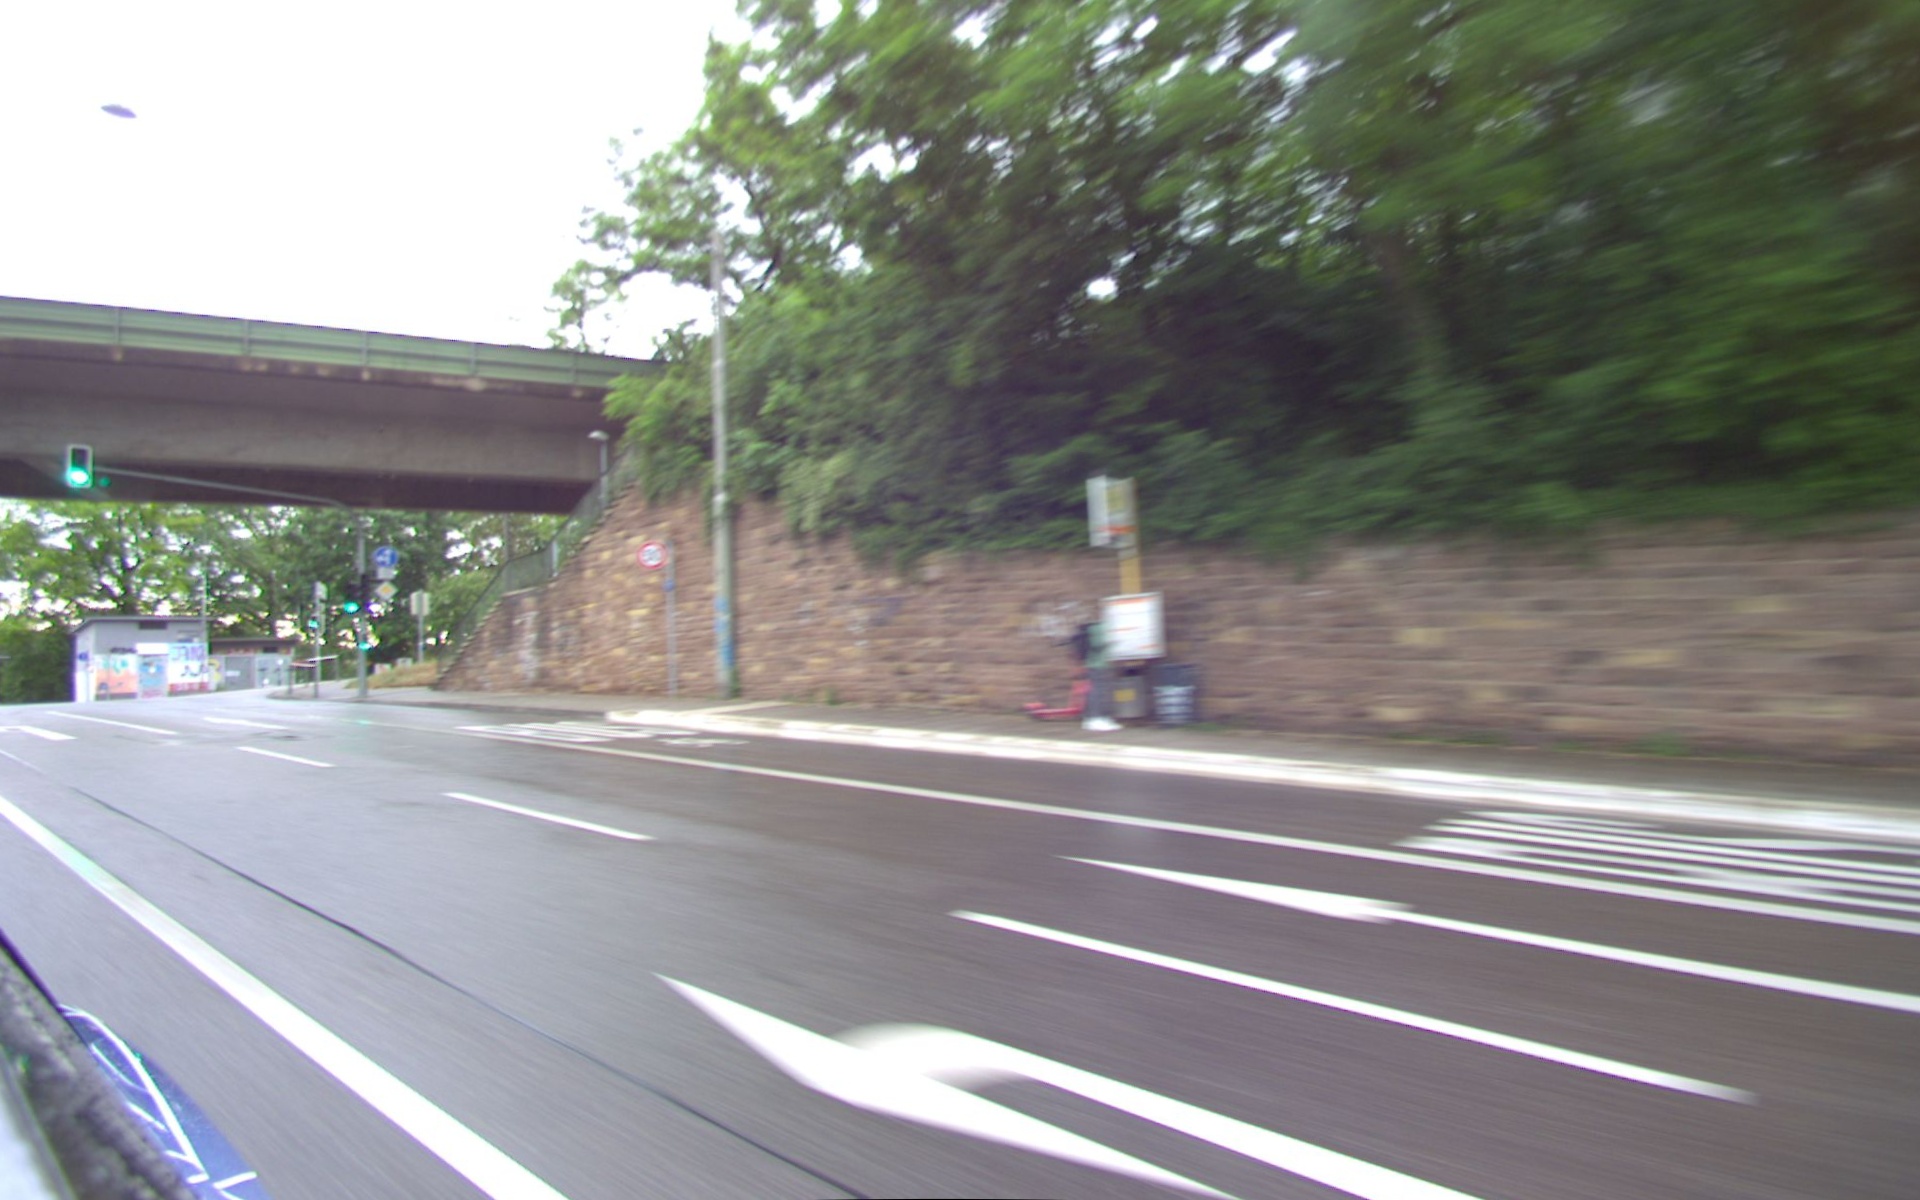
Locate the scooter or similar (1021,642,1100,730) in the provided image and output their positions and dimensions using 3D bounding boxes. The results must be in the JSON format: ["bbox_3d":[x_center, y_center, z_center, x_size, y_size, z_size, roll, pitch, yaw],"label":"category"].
[{"bbox_3d":[1.455,1.229,14.707,1.125,1.190,0.369,-1,0,41],"label":"scooter or similar"}]

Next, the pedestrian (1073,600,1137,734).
[{"bbox_3d":[1.954,0.875,13.630,0.622,1.745,0.582,-1,0,38],"label":"pedestrian"}]
